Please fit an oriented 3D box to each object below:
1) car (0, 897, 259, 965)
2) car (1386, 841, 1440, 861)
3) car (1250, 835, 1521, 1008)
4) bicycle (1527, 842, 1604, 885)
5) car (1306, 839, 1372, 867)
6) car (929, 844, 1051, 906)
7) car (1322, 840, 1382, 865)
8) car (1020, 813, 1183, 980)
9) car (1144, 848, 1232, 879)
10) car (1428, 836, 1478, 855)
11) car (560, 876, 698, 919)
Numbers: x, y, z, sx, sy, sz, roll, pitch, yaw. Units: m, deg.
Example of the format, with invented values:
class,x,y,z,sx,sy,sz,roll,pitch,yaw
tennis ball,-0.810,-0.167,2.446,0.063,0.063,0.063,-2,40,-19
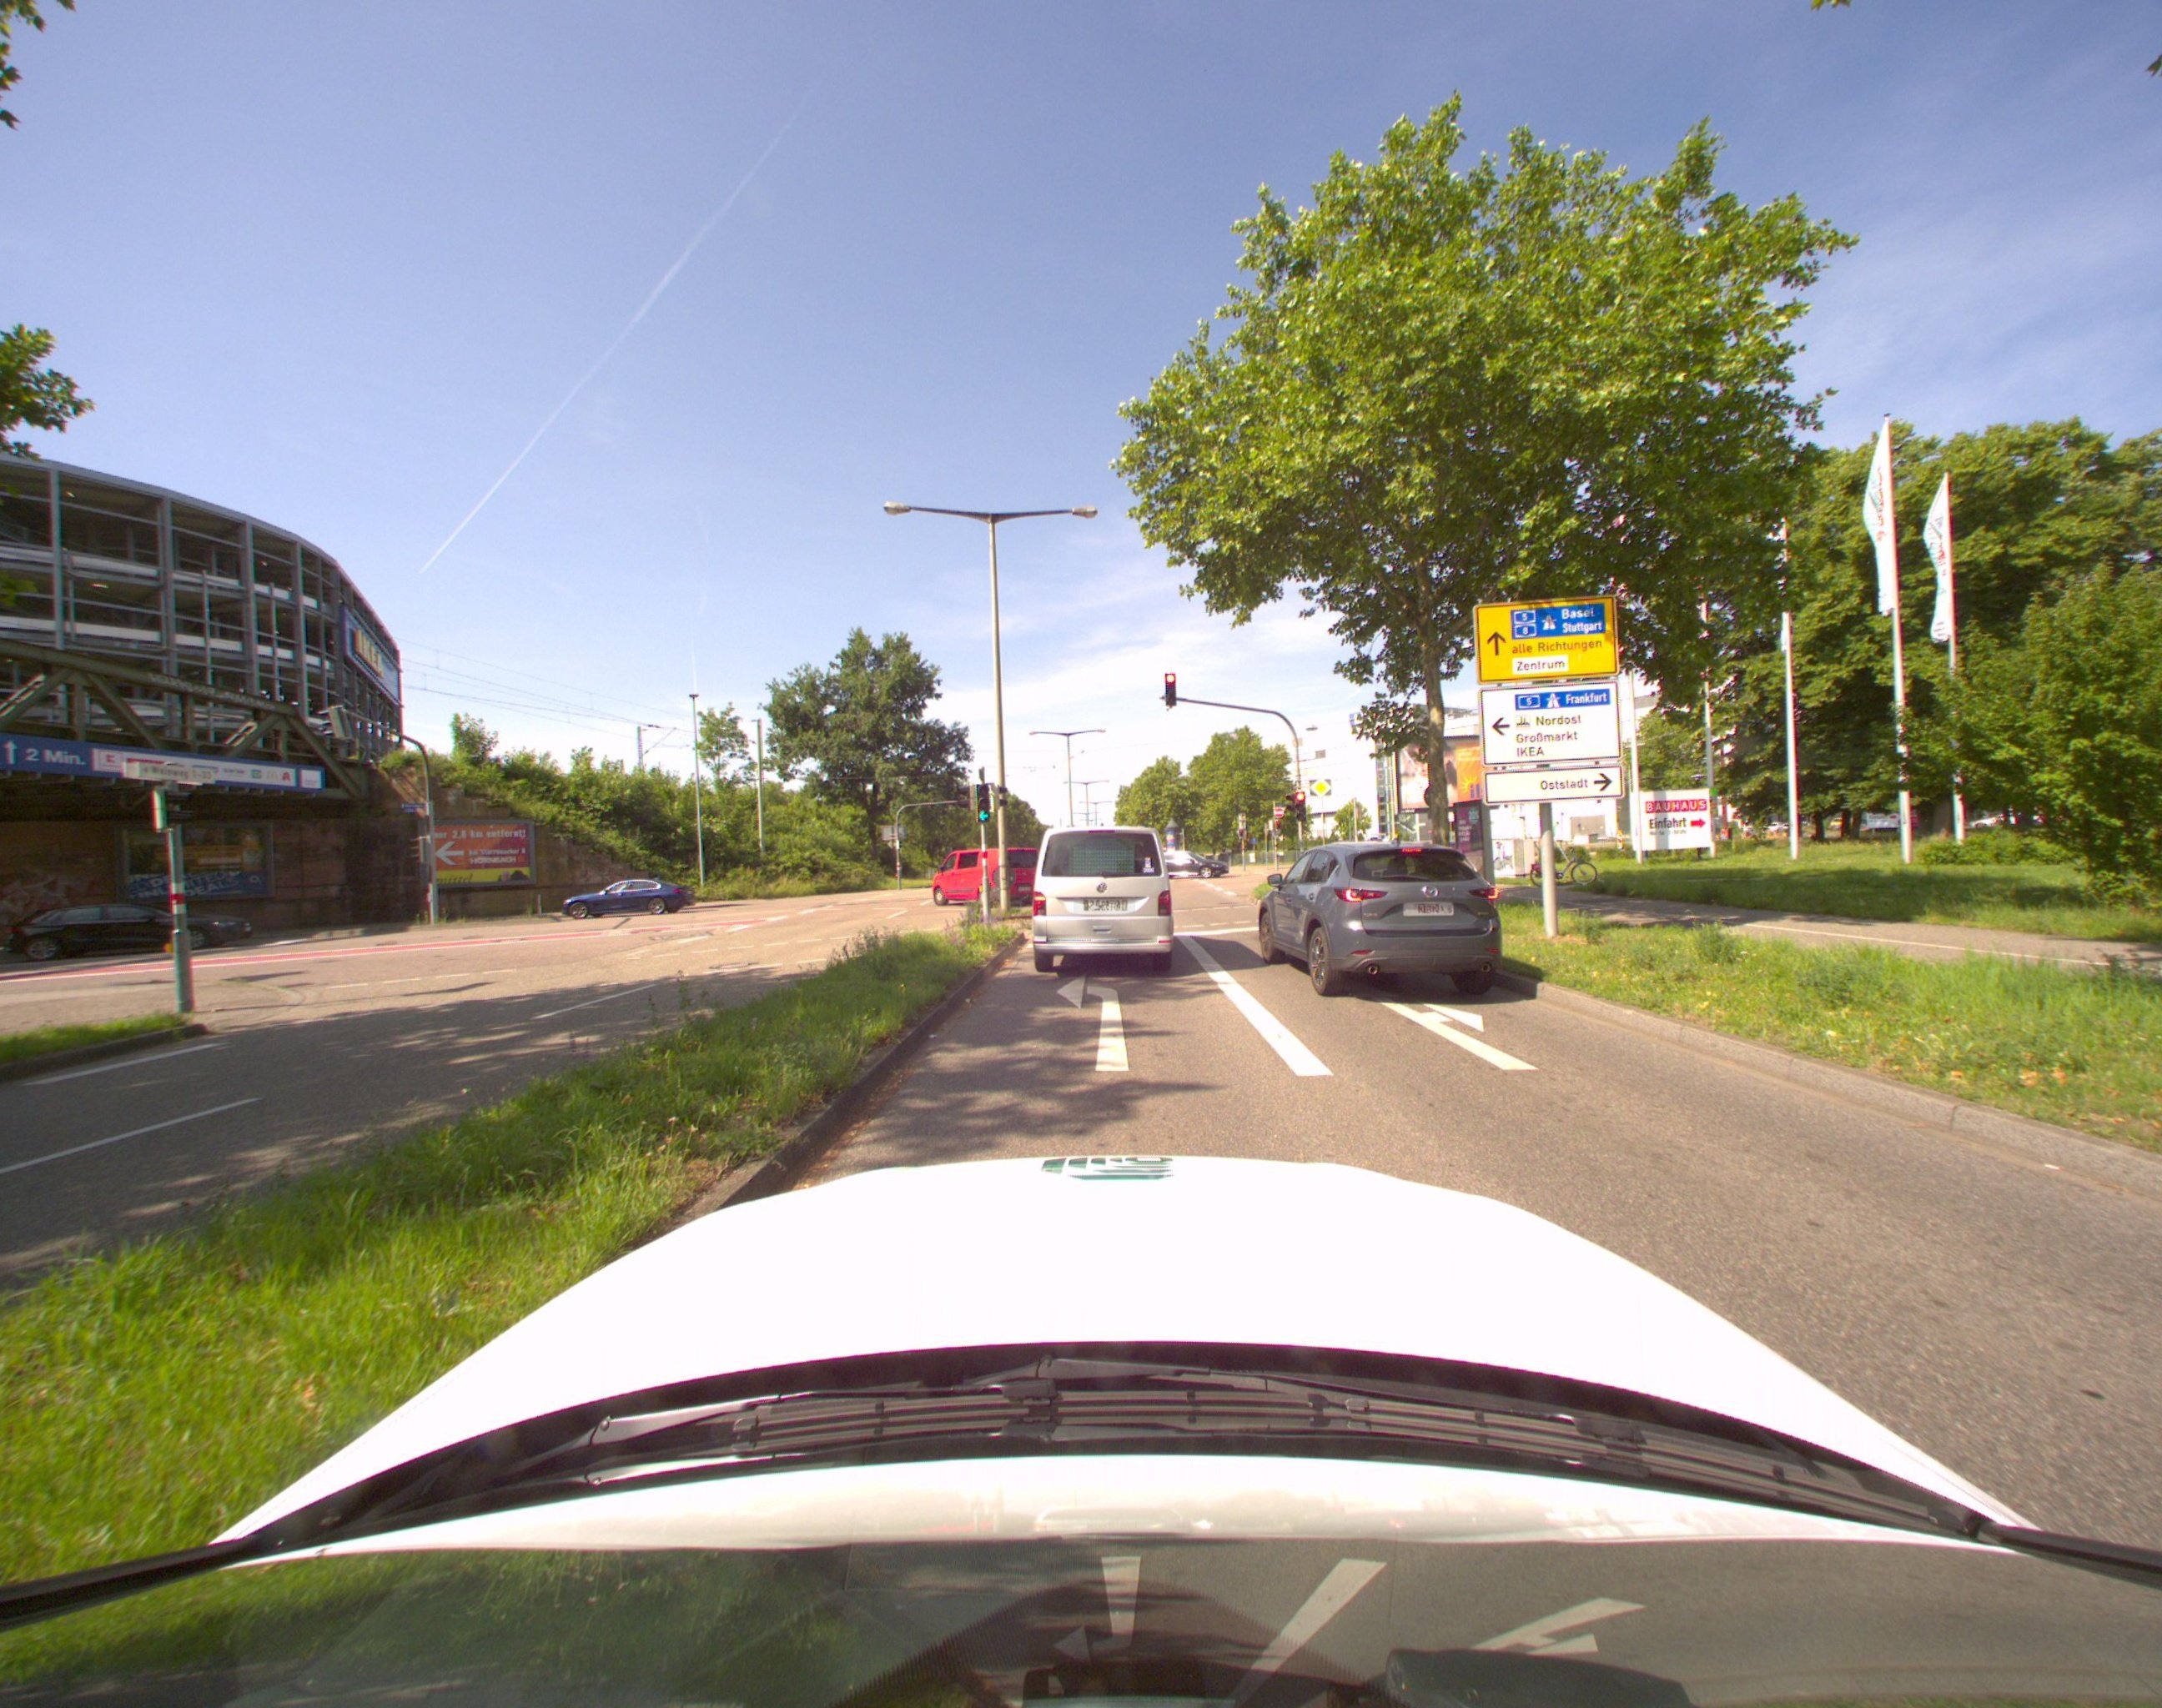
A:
class,x,y,z,sx,sy,sz,roll,pitch,yaw
car,-26.015,2.050,22.500,4.353,1.395,1.752,-3,0,-34
car,27.178,-0.258,66.633,4.646,1.444,1.762,-3,0,-35
car,3.420,0.665,10.148,1.759,1.659,4.497,-1,0,1
bicycle,13.911,0.278,23.442,1.771,1.108,0.506,-4,-1,20
car,18.021,-0.089,56.916,4.646,1.689,1.895,-3,0,-35
car,-3.234,0.736,28.152,1.985,1.924,4.507,-2,-1,-40
car,20.850,-0.141,62.671,4.646,1.689,1.895,-3,0,-35
car,0.339,0.532,12.455,1.934,1.971,5.024,-2,0,2
car,5.810,0.522,44.326,4.339,1.510,1.862,-3,0,26
car,31.891,-0.718,69.768,4.646,1.444,1.762,-3,0,-35
car,-17.718,1.673,32.105,4.308,1.397,1.788,-3,0,-8
